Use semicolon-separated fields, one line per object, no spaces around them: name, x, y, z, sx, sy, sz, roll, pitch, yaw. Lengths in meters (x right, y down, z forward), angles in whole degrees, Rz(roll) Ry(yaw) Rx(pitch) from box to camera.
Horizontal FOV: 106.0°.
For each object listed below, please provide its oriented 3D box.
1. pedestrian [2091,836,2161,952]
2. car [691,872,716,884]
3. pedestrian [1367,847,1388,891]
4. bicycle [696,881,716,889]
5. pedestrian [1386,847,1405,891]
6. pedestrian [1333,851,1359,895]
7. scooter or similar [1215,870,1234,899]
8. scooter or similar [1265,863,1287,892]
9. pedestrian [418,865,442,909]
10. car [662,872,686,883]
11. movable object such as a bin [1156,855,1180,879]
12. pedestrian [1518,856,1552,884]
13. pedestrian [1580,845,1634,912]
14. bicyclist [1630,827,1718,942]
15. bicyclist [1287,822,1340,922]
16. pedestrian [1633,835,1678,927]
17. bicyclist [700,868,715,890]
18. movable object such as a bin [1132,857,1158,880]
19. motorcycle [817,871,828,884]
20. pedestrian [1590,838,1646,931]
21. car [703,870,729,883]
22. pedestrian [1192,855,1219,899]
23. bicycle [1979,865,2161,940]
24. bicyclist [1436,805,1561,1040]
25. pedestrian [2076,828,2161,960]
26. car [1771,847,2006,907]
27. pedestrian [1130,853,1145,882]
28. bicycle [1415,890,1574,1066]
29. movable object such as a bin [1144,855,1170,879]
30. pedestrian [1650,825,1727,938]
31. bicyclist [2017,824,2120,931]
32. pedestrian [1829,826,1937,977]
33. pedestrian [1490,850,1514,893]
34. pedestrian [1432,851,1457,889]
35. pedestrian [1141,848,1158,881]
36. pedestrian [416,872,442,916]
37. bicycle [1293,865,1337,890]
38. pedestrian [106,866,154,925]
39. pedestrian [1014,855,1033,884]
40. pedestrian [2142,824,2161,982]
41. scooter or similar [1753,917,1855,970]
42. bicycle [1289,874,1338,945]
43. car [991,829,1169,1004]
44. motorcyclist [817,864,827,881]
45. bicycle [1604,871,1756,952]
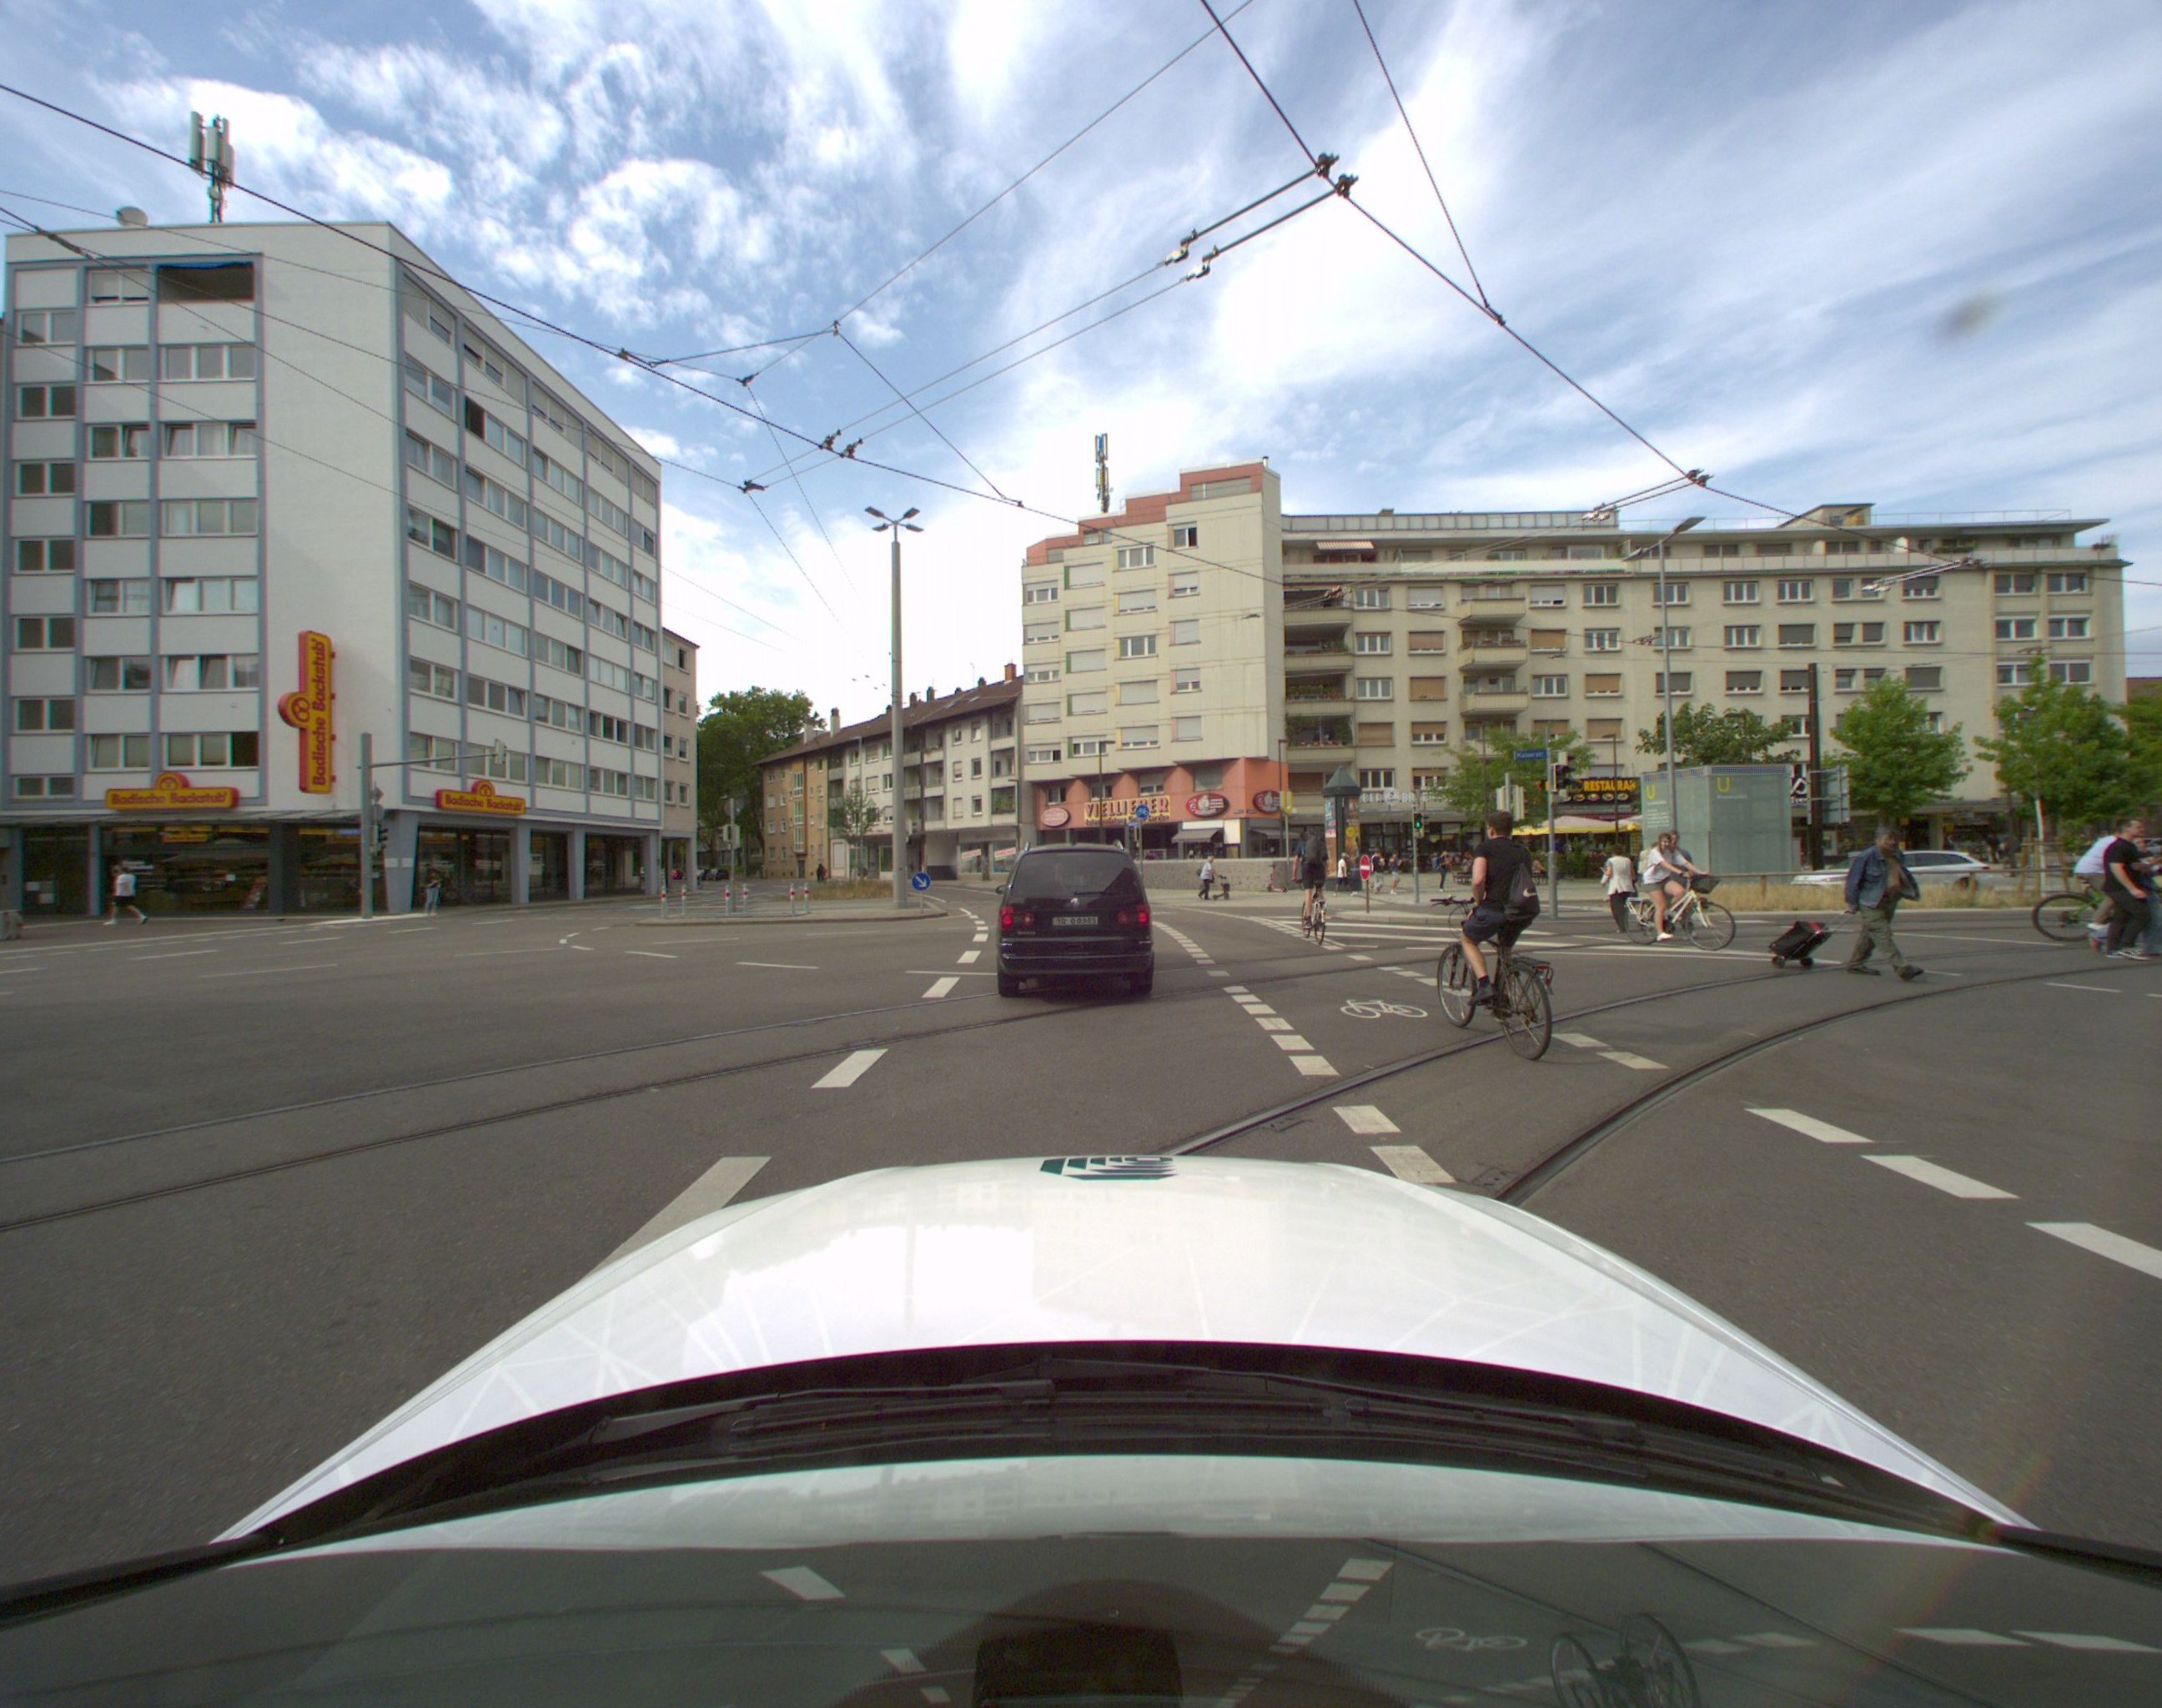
pedestrian;14.210;0.522;10.975;0.621;1.511;0.597;-1;-1;39
car;-47.532;2.979;102.422;1.672;1.422;3.898;0;0;-44
pedestrian;11.942;0.605;32.803;0.696;1.737;0.415;-1;-1;1
bicycle;-28.817;2.384;62.583;0.481;0.588;2.000;-1;-1;5
pedestrian;12.483;0.606;32.334;0.591;1.737;0.415;-1;-1;1
pedestrian;10.325;0.743;31.747;0.800;1.680;0.627;-1;-1;3
scooter or similar;5.711;1.202;32.388;0.695;1.110;0.611;-2;0;14
scooter or similar;8.439;1.012;35.266;0.286;1.212;1.117;-1;-1;-21
pedestrian;-26.830;1.359;33.563;0.474;1.765;0.589;-1;0;1
car;-54.815;3.123;109.599;1.691;1.394;4.405;0;-2;-44
movable object such as a bin;5.728;0.840;53.580;1.011;1.516;1.153;0;-1;-45
pedestrian;20.023;0.705;35.954;1.026;1.245;0.935;1;-1;4
pedestrian;12.170;0.563;18.877;0.552;1.501;0.843;-1;-3;-14
bicyclist;9.185;0.460;12.637;0.642;1.709;0.858;-1;-1;-16
bicyclist;4.129;0.314;14.514;0.695;1.709;0.908;-1;-1;2
pedestrian;10.866;0.497;15.404;0.627;1.695;0.711;-1;-1;38
bicyclist;-28.740;1.896;62.720;0.605;1.646;1.039;-1;-1;4
movable object such as a bin;4.069;0.919;51.859;1.155;1.460;1.209;0;-1;-45
motorcycle;-20.963;1.926;66.036;0.341;1.007;1.250;0;-1;-42
pedestrian;10.077;0.564;15.304;0.467;1.686;0.795;-1;-1;-3
car;-44.257;2.697;98.776;1.672;1.422;3.819;0;0;-44
pedestrian;4.992;0.911;32.573;0.928;1.740;0.688;-2;0;15
bicycle;15.191;0.726;12.456;1.895;1.087;0.394;-2;-1;37
bicyclist;3.236;0.508;6.380;0.556;1.709;0.864;-1;-1;5
pedestrian;13.571;0.494;10.549;0.712;1.648;0.711;-1;-1;39
car;22.648;0.638;22.988;4.570;1.512;2.001;-2;-1;2
pedestrian;3.285;0.787;47.222;0.476;1.672;0.583;-4;1;-43
bicycle;3.263;0.902;6.621;0.404;1.122;2.019;-1;0;5
movable object such as a bin;4.921;0.864;52.744;1.204;1.516;1.182;0;-1;-45
pedestrian;10.388;0.453;13.948;0.636;1.854;0.877;-1;0;1
bicyclist;15.286;0.360;12.639;0.851;1.603;0.646;-2;-1;37
pedestrian;9.291;0.535;9.456;0.636;1.687;0.600;-1;0;1
pedestrian;16.528;0.681;31.943;0.674;1.641;0.440;-1;-1;1
pedestrian;15.118;0.665;33.854;0.815;1.576;0.415;-1;-1;3
pedestrian;3.998;0.620;47.717;0.678;1.903;0.583;-4;1;-43
pedestrian;-23.719;1.456;29.623;0.497;1.559;0.517;-1;-1;-2
bicycle;10.356;1.022;35.987;2.461;1.013;0.538;-1;-1;-40
pedestrian;-30.557;1.335;26.171;0.859;1.859;0.581;-1;-1;0
pedestrian;-3.765;1.011;53.481;0.662;1.852;0.960;-4;1;-40
pedestrian;11.537;0.509;8.188;0.539;1.651;0.893;-1;0;1
scooter or similar;9.026;1.107;10.194;0.506;0.574;0.814;-1;-1;-7
bicycle;4.136;0.949;14.596;0.389;1.122;1.921;-1;0;2
car;-0.144;0.656;10.284;1.809;1.766;3.732;-1;0;-5
motorcyclist;-21.000;1.501;66.088;0.528;1.312;0.669;0;-1;-42
bicycle;9.136;0.828;12.543;0.391;1.122;2.065;-1;-1;-15
